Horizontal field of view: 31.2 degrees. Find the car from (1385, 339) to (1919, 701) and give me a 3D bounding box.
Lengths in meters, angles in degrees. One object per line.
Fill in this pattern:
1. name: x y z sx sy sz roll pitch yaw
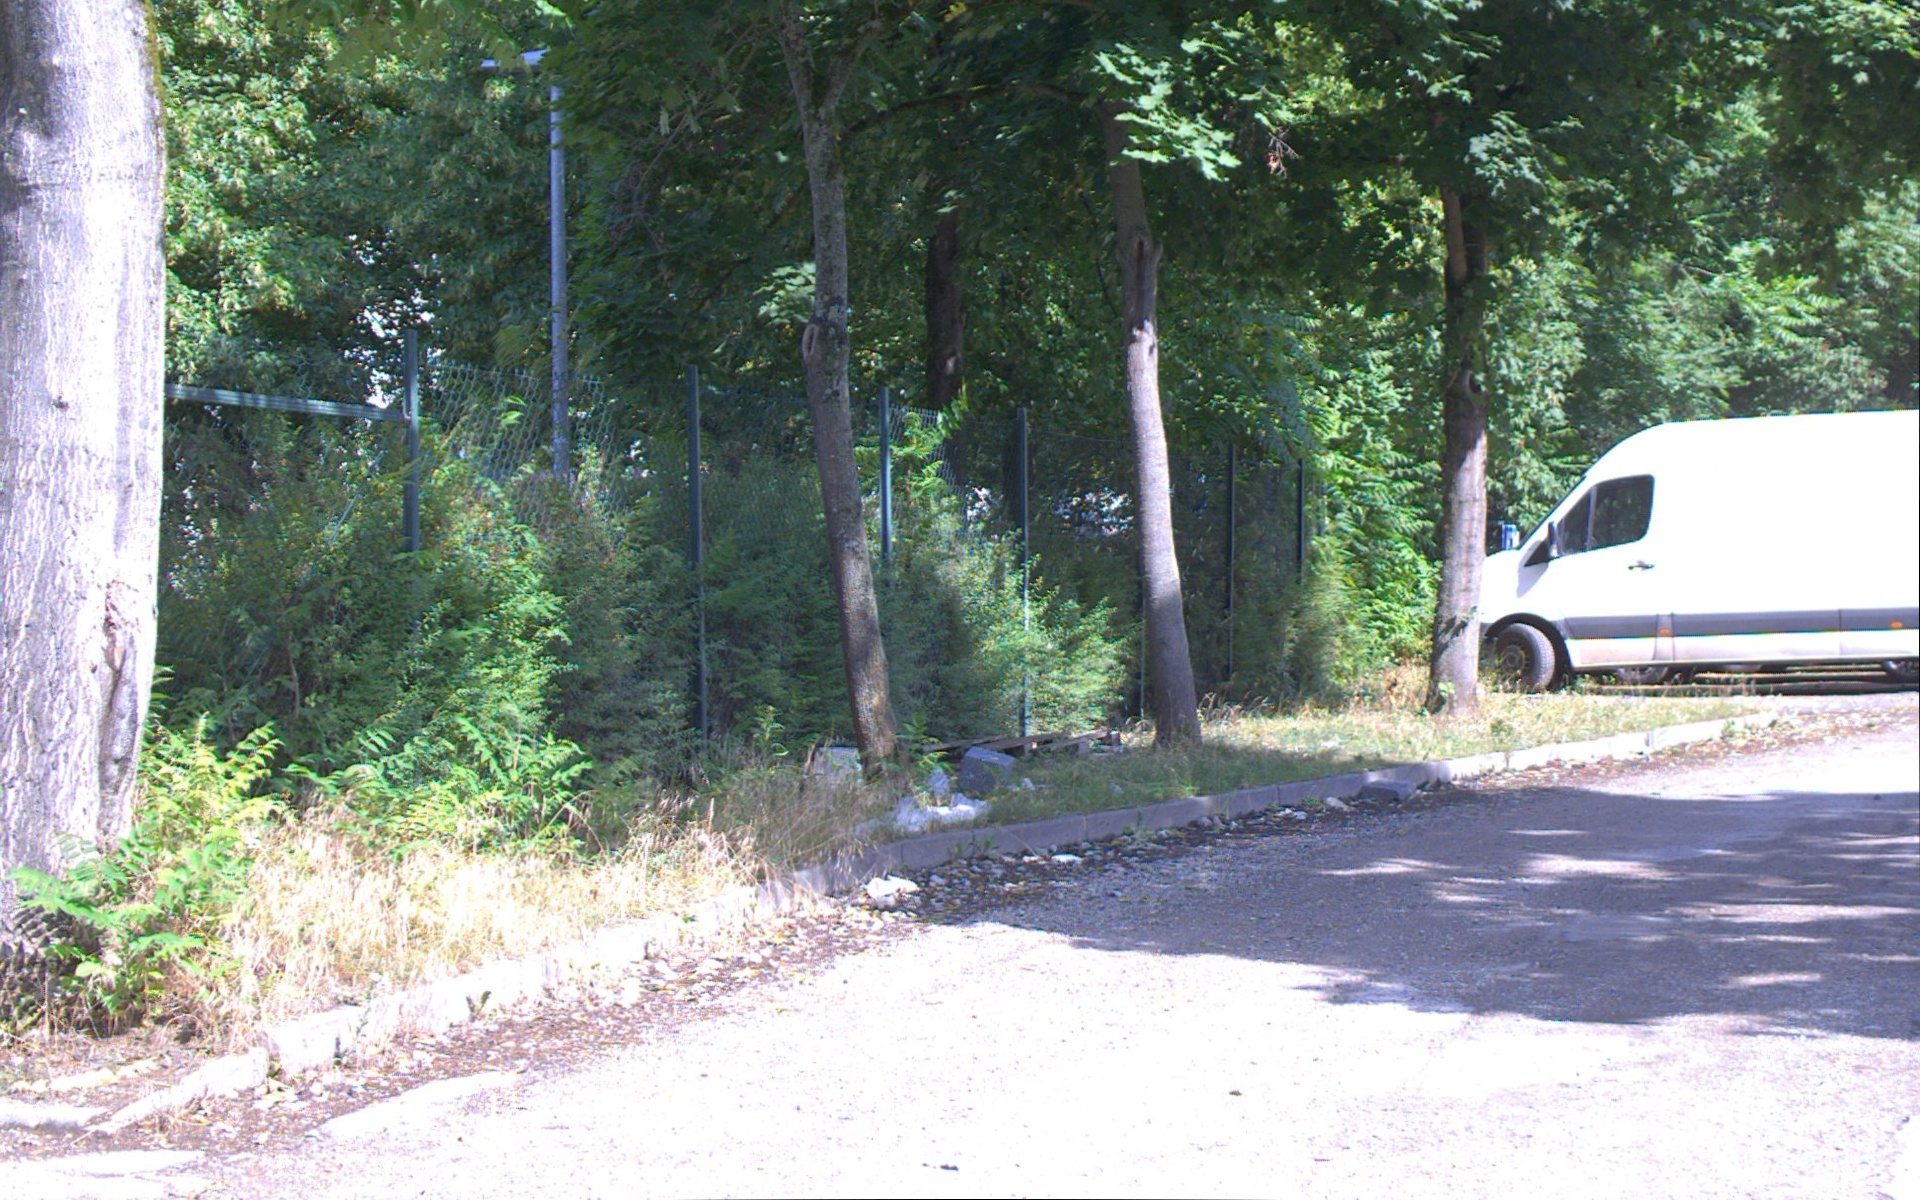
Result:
1. car: 7.752 -0.707 32.695 6.958 3.037 1.998 4 1 16
